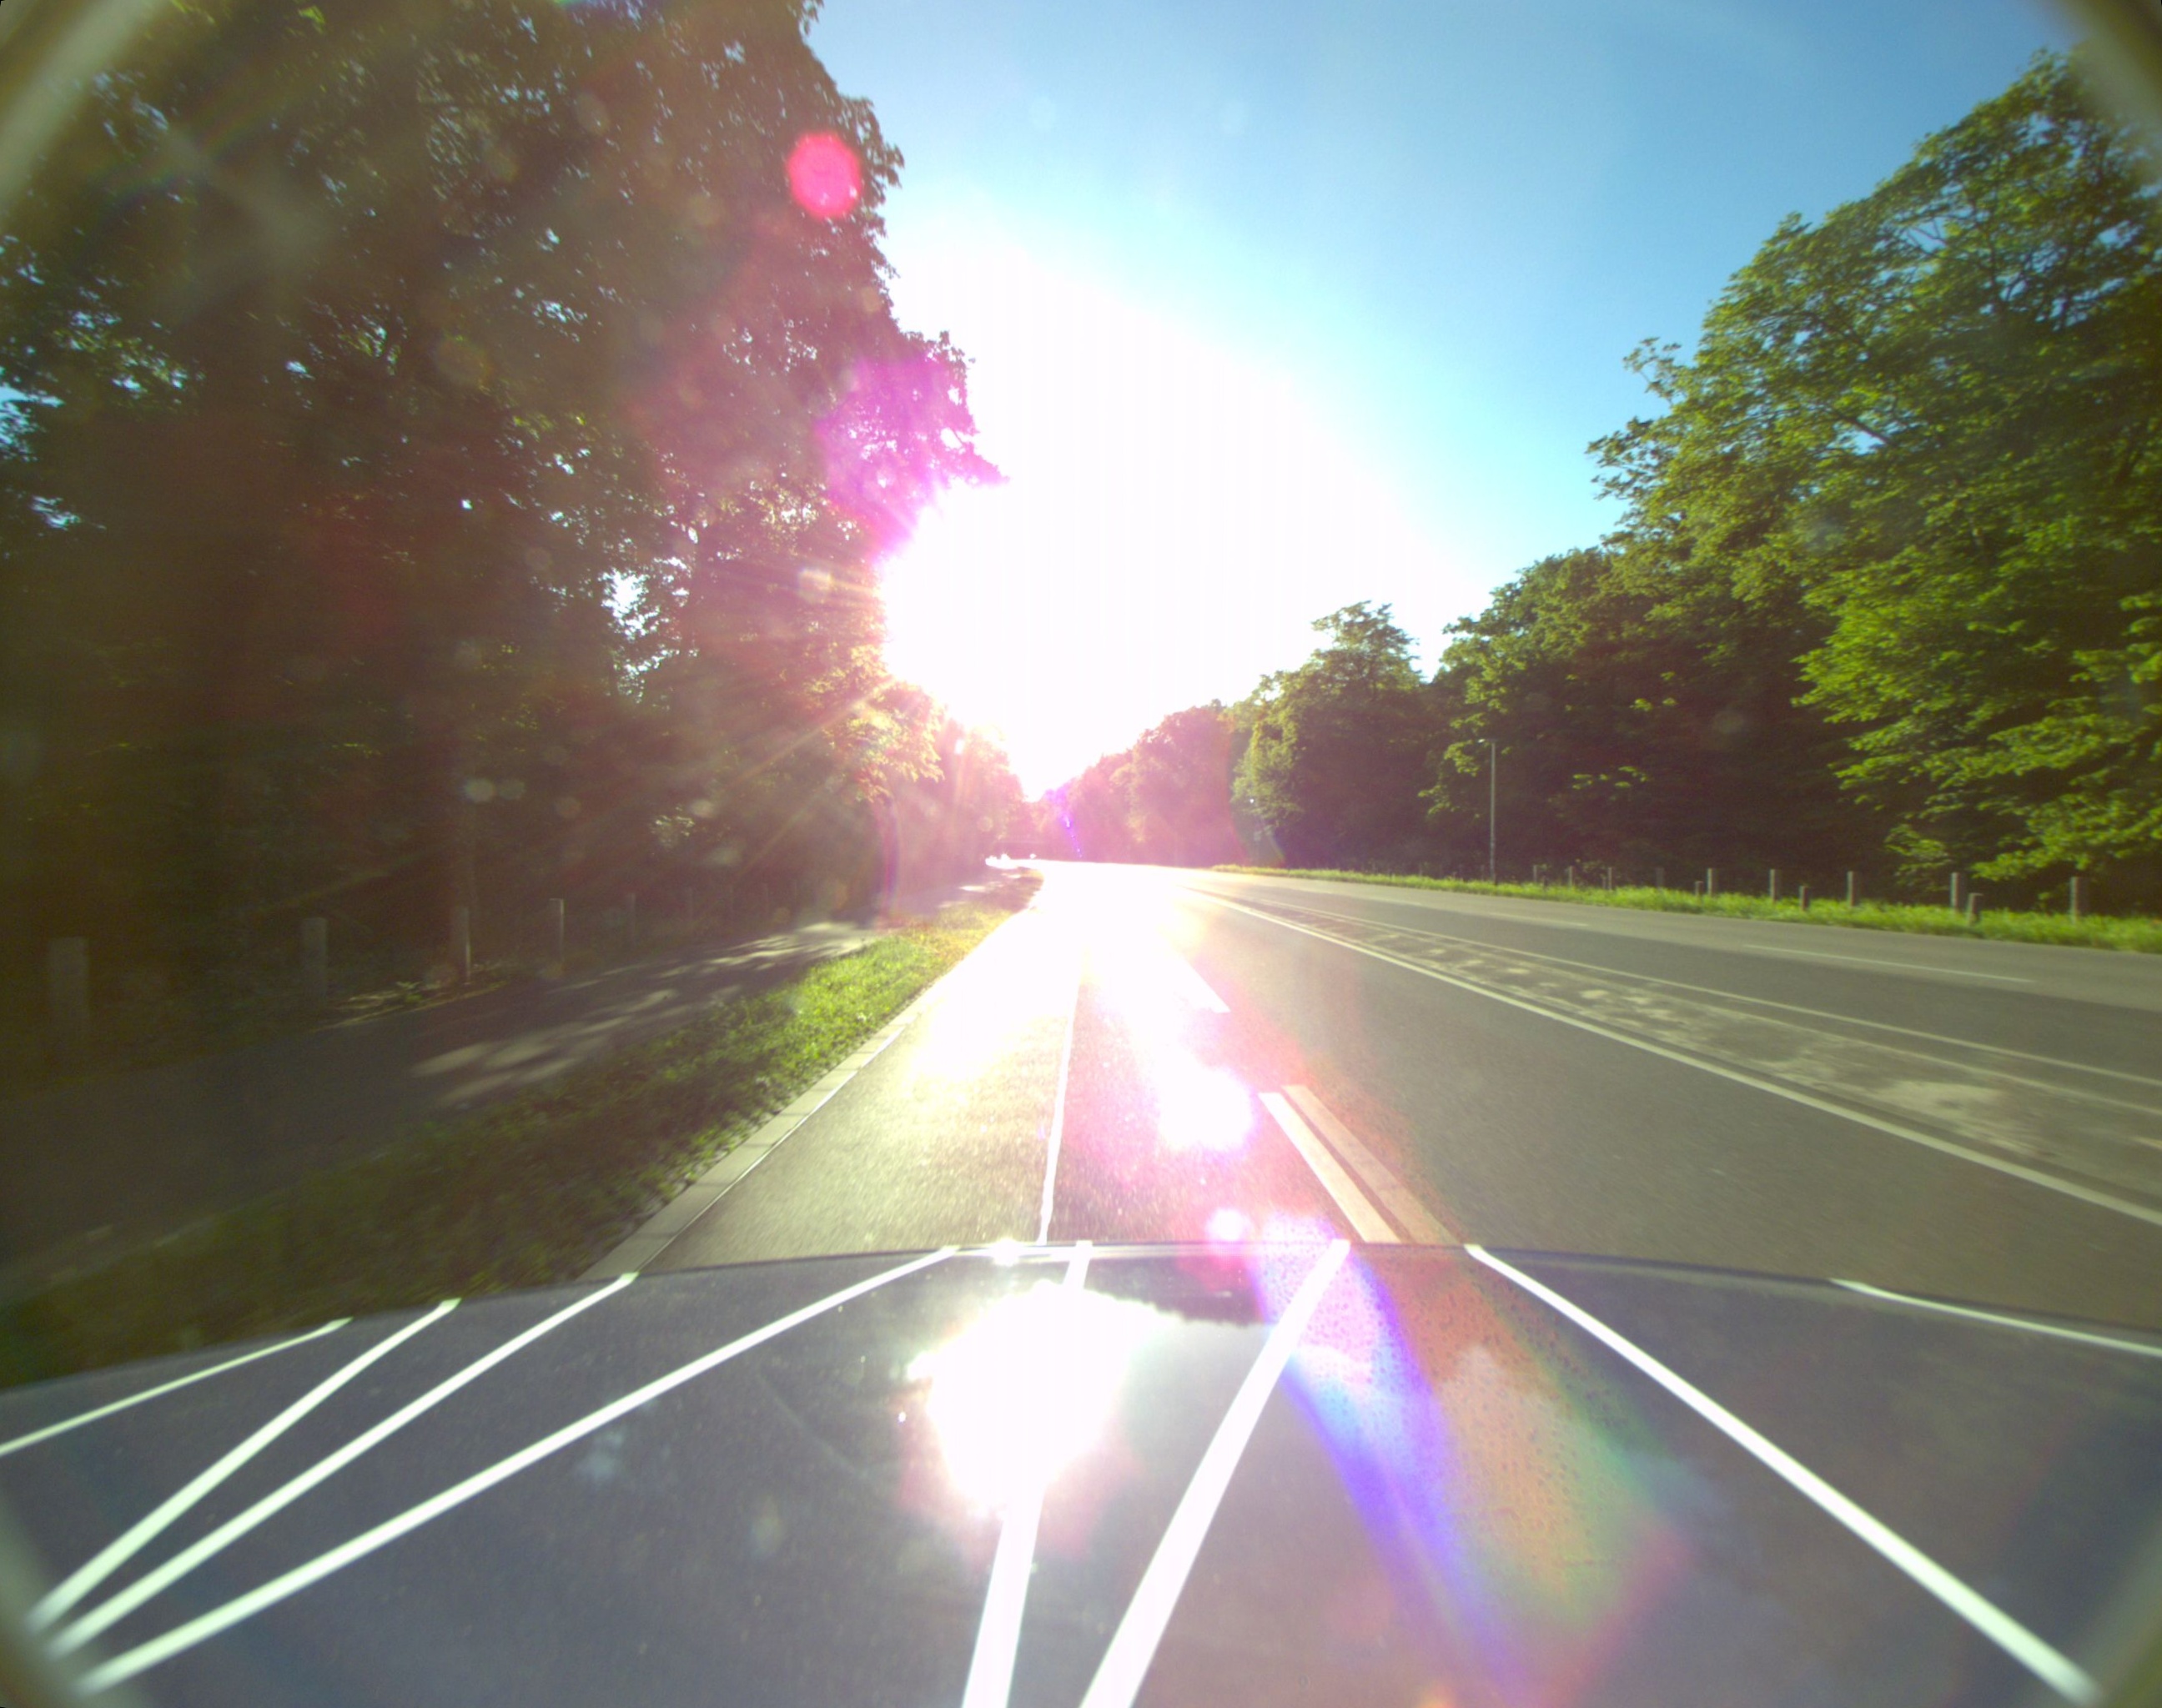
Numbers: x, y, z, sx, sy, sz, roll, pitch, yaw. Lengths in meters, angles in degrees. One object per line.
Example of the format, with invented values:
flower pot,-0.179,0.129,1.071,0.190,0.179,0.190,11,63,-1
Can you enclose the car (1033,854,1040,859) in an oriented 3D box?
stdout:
car,-12.745,0.700,216.902,1.592,1.429,4.306,-3,1,-6

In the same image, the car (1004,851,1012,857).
car,-21.729,-0.110,226.261,1.828,1.674,3.995,-1,0,-12

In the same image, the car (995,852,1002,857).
car,-28.039,0.231,258.271,1.828,1.674,3.995,-1,0,-14
